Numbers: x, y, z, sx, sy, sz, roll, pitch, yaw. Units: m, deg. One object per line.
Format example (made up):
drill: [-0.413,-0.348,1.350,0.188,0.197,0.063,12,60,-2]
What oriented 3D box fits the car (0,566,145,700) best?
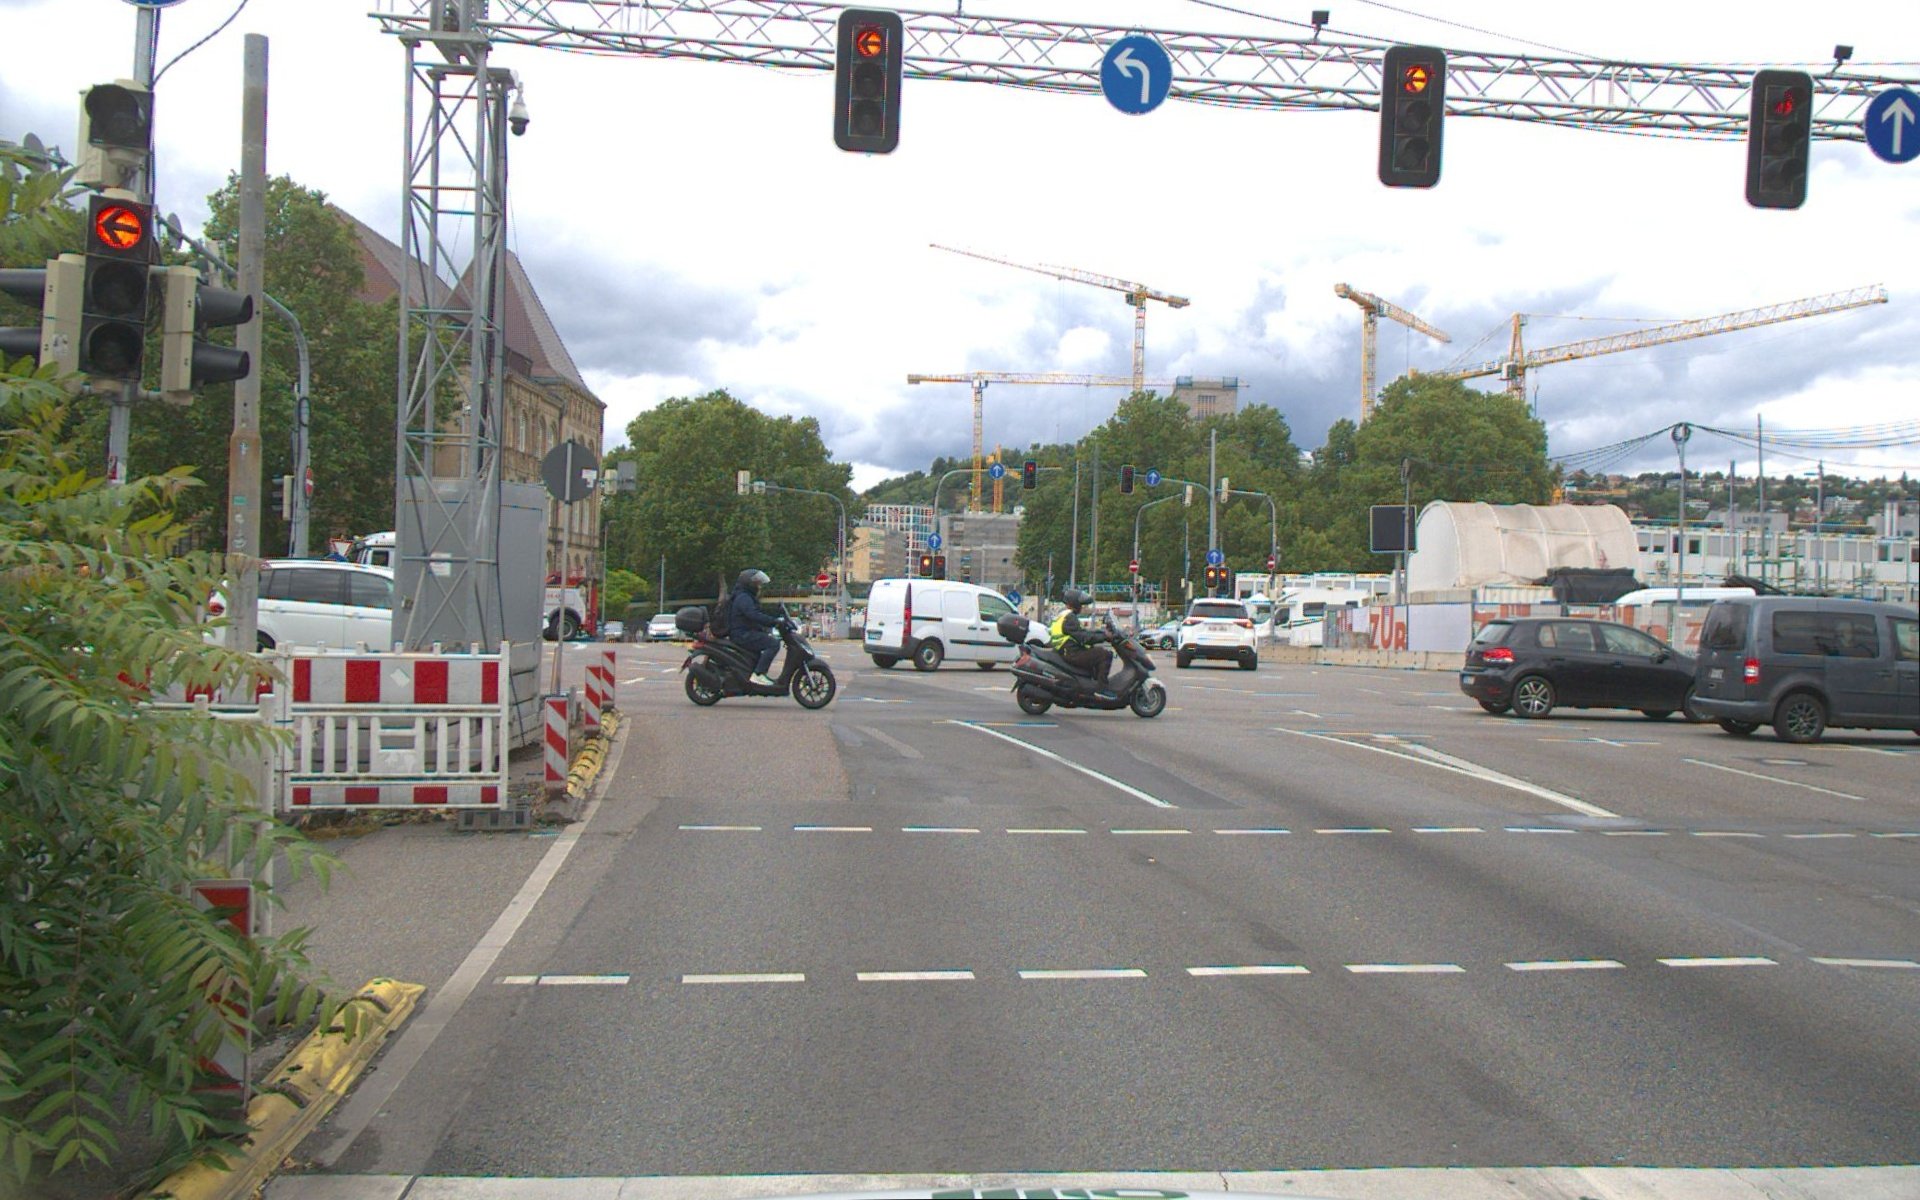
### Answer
car: [-12.719,0.365,20.495,4.209,1.567,1.999,1,0,-3]

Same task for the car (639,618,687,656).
car: [-15.406,1.918,85.977,1.954,1.870,3.997,1,0,-3]

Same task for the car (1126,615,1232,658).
car: [10.185,1.702,76.918,4.508,1.805,1.984,2,1,-26]

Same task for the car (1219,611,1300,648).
car: [15.970,1.557,88.089,3.905,1.870,2.000,1,0,22]

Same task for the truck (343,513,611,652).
truck: [-18.592,-0.575,63.844,9.584,5.047,3.091,1,-1,-24]

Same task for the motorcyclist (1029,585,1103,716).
motorcyclist: [1.321,0.625,20.738,0.860,1.598,0.817,1,0,0]

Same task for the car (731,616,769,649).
car: [-12.673,1.944,100.024,1.954,1.870,3.997,1,0,-3]

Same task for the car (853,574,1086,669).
car: [0.244,0.453,34.541,4.667,1.865,1.847,1,0,-35]

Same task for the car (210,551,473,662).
car: [-10.990,0.131,29.715,4.172,1.866,1.992,1,0,-15]

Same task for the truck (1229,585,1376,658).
truck: [15.731,1.007,75.888,6.495,3.201,2.349,1,0,-24]

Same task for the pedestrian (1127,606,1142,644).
pedestrian: [8.605,1.214,81.575,0.574,1.872,0.604,1,-1,-4]

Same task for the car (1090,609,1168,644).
car: [9.410,1.461,92.172,3.932,1.870,1.986,1,0,44]

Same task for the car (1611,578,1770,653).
car: [21.051,0.444,47.819,3.902,2.049,2.001,1,0,15]

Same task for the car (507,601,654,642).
car: [-14.254,0.805,62.090,5.066,1.444,2.220,1,0,-24]

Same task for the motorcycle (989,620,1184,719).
motorcycle: [1.563,0.858,20.739,2.373,1.175,0.817,1,0,0]

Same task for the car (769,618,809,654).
car: [-9.397,1.963,91.059,1.954,1.870,3.997,1,0,-3]

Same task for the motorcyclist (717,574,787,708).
motorcyclist: [-2.591,0.505,20.669,0.770,1.624,0.652,1,-1,0]

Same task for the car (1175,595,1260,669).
car: [6.628,0.804,42.938,1.951,1.790,4.508,1,0,6]

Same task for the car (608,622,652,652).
car: [-21.201,2.369,106.440,1.952,1.870,4.000,1,0,0]

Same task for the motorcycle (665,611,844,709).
motorcycle: [-2.551,0.740,20.675,2.123,1.175,0.652,1,0,0]

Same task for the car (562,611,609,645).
car: [-21.281,1.573,94.081,1.954,1.870,3.997,1,0,-3]

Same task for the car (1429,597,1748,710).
car: [9.384,0.783,24.891,4.026,1.574,1.998,1,0,-5]

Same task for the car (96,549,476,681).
car: [-9.518,0.210,23.671,4.577,1.732,1.999,1,0,-3]

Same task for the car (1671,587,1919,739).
car: [11.730,0.794,21.428,4.183,1.837,1.999,1,0,-2]
